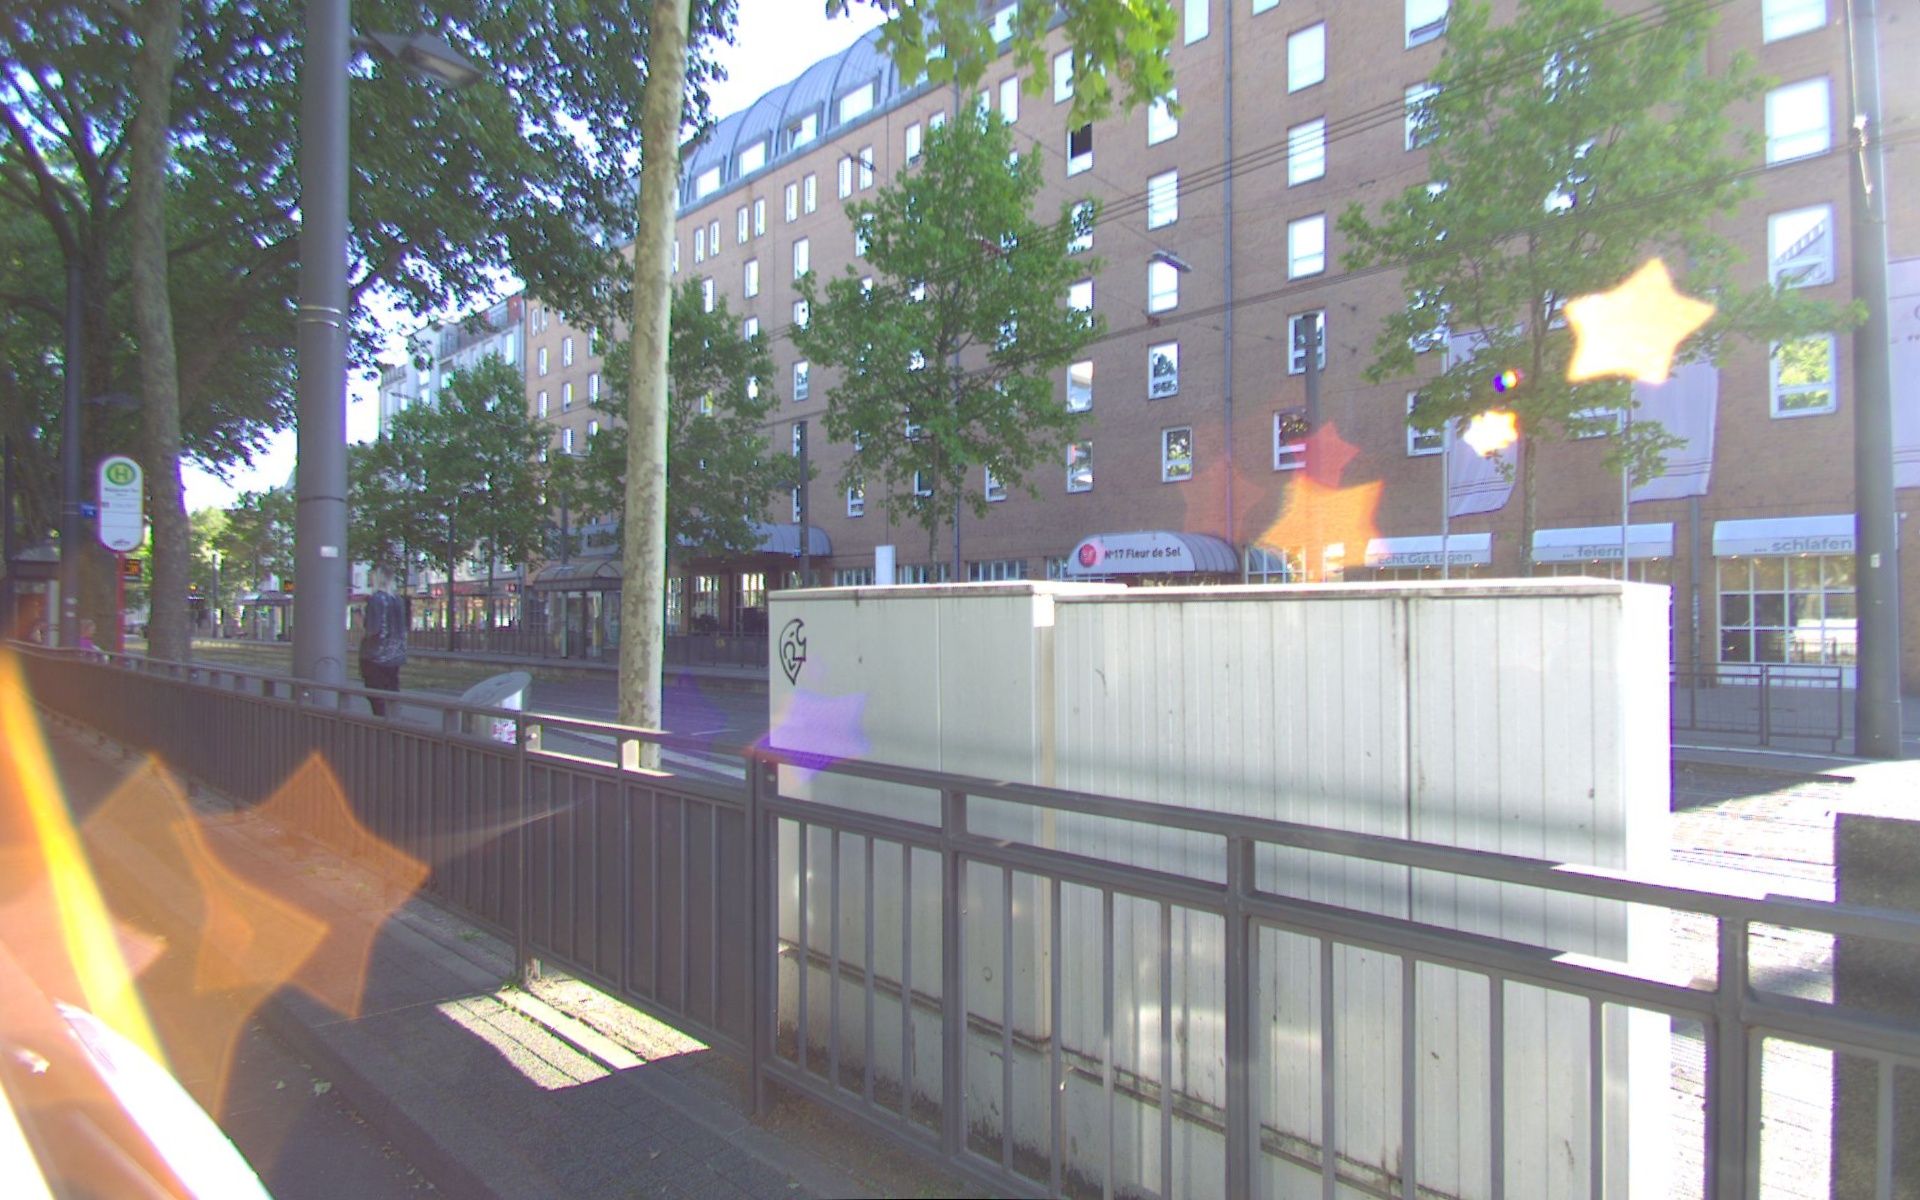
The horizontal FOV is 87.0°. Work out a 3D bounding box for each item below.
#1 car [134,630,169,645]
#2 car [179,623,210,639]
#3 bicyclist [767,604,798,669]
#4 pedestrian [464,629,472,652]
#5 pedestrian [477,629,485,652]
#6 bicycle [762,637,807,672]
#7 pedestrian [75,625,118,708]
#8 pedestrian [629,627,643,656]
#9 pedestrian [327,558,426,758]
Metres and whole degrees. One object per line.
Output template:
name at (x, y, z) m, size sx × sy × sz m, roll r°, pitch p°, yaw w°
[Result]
car at (-86.571, 4.008, 108.391) m, size 3.993 × 1.530 × 1.975 m, roll -1°, pitch -2°, yaw 37°
car at (-83.726, 3.370, 110.667) m, size 3.998 × 1.719 × 1.972 m, roll -1°, pitch -2°, yaw 42°
bicyclist at (-5.317, 1.097, 30.310) m, size 0.564 × 1.918 × 0.814 m, roll 2°, pitch -2°, yaw -43°
pedestrian at (-32.726, 2.690, 67.290) m, size 0.431 × 1.518 × 0.660 m, roll 1°, pitch -2°, yaw -27°
pedestrian at (-32.017, 2.704, 67.610) m, size 0.431 × 1.532 × 0.660 m, roll 1°, pitch -2°, yaw -27°
bicycle at (-5.274, 1.619, 30.359) m, size 0.444 × 1.012 × 1.754 m, roll 2°, pitch -2°, yaw -44°
pedestrian at (-13.950, 1.060, 16.351) m, size 0.493 × 1.325 × 0.419 m, roll 1°, pitch -2°, yaw -41°
pedestrian at (-16.396, 2.107, 51.204) m, size 0.516 × 1.447 × 0.512 m, roll -2°, pitch -2°, yaw 44°
pedestrian at (-5.781, 0.548, 10.038) m, size 0.620 × 1.897 × 0.601 m, roll 1°, pitch 0°, yaw 28°
